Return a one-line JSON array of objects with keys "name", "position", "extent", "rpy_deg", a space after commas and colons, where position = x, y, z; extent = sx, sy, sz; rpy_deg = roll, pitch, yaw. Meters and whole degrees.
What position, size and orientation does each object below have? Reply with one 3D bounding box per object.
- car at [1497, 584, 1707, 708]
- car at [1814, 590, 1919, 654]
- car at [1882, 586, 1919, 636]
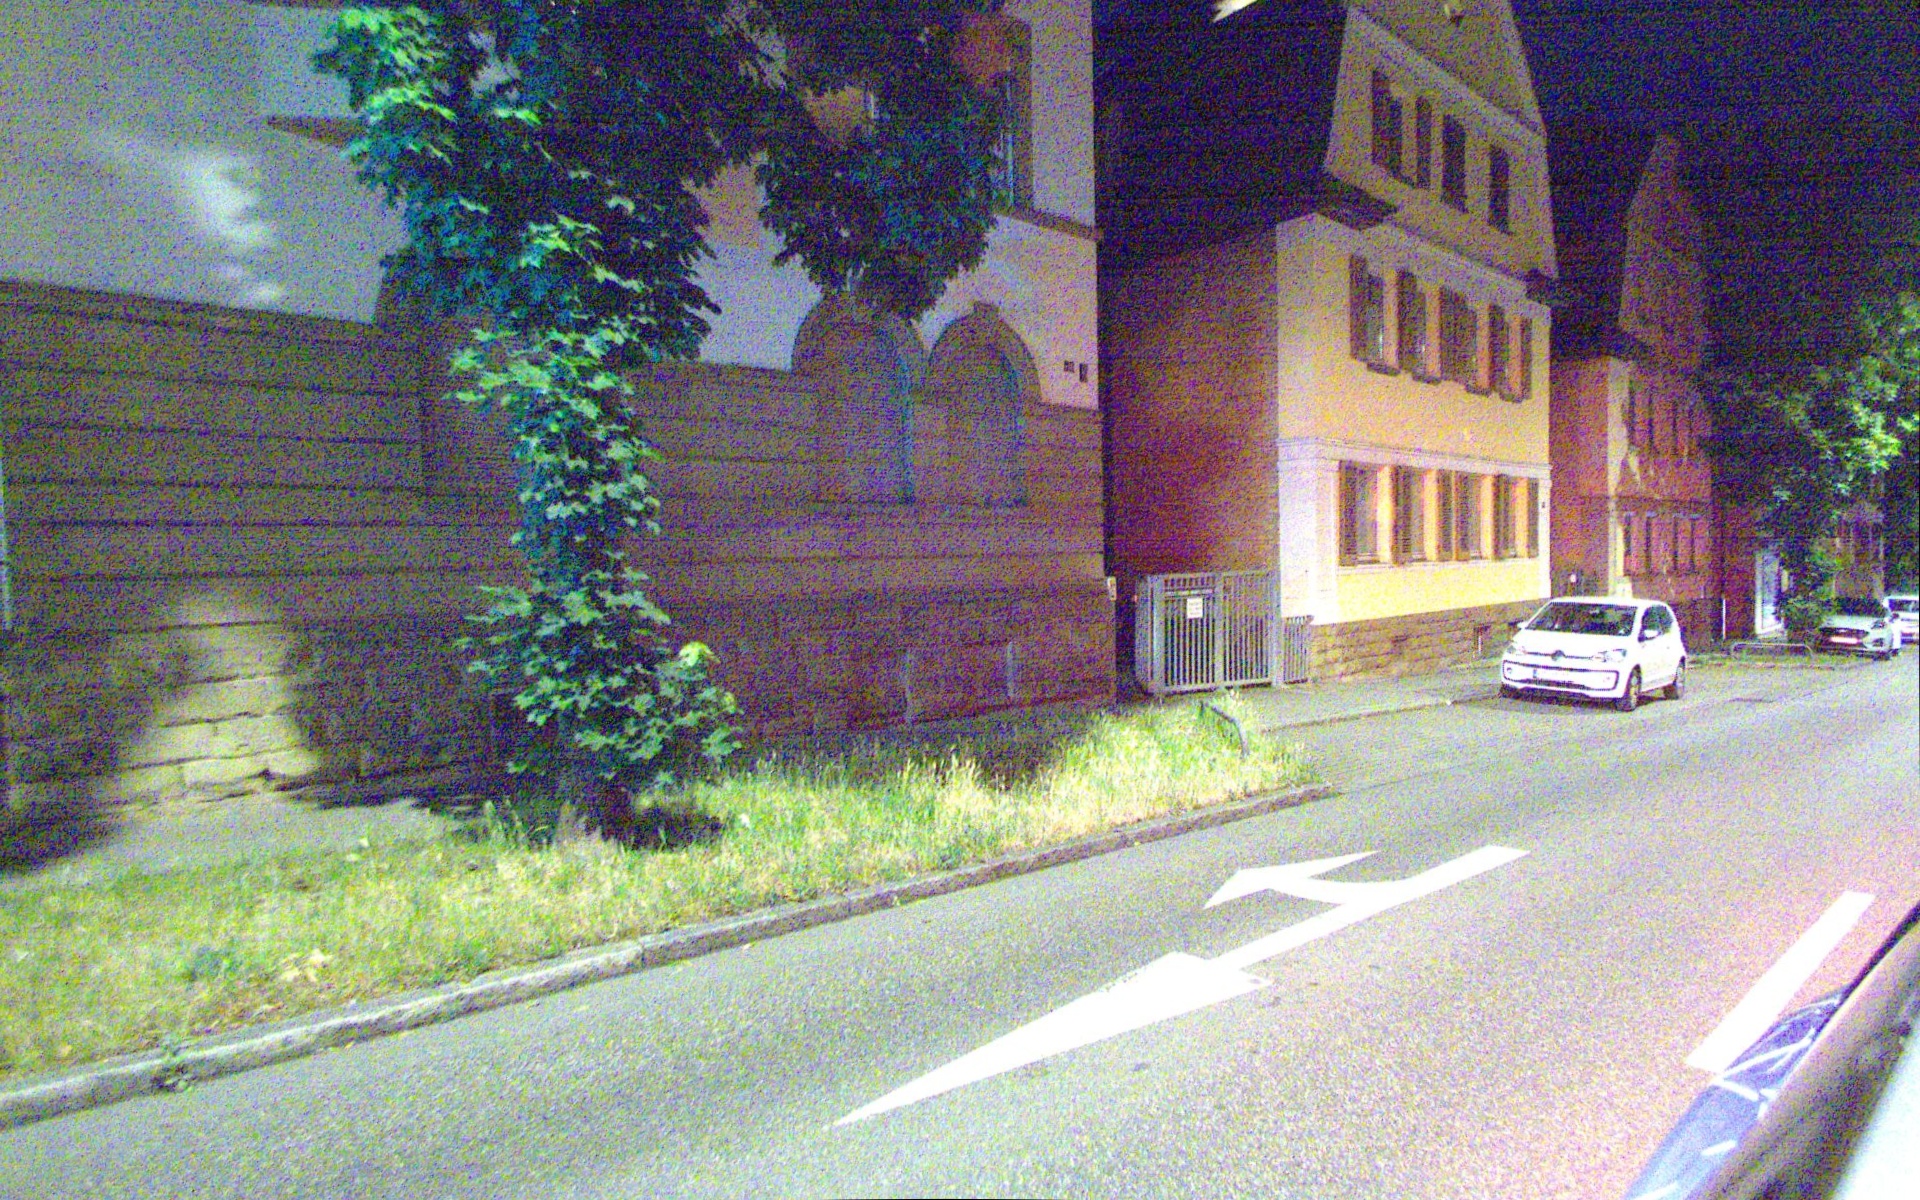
[{"name": "car", "position": [9.286, 0.572, 14.557], "extent": [3.425, 1.527, 1.610], "rpy_deg": [0, 2, -41]}, {"name": "car", "position": [23.626, 0.513, 26.278], "extent": [3.824, 1.516, 1.740], "rpy_deg": [0, 2, -43]}, {"name": "car", "position": [33.551, 0.373, 35.134], "extent": [4.107, 1.673, 1.850], "rpy_deg": [0, 0, -42]}]
